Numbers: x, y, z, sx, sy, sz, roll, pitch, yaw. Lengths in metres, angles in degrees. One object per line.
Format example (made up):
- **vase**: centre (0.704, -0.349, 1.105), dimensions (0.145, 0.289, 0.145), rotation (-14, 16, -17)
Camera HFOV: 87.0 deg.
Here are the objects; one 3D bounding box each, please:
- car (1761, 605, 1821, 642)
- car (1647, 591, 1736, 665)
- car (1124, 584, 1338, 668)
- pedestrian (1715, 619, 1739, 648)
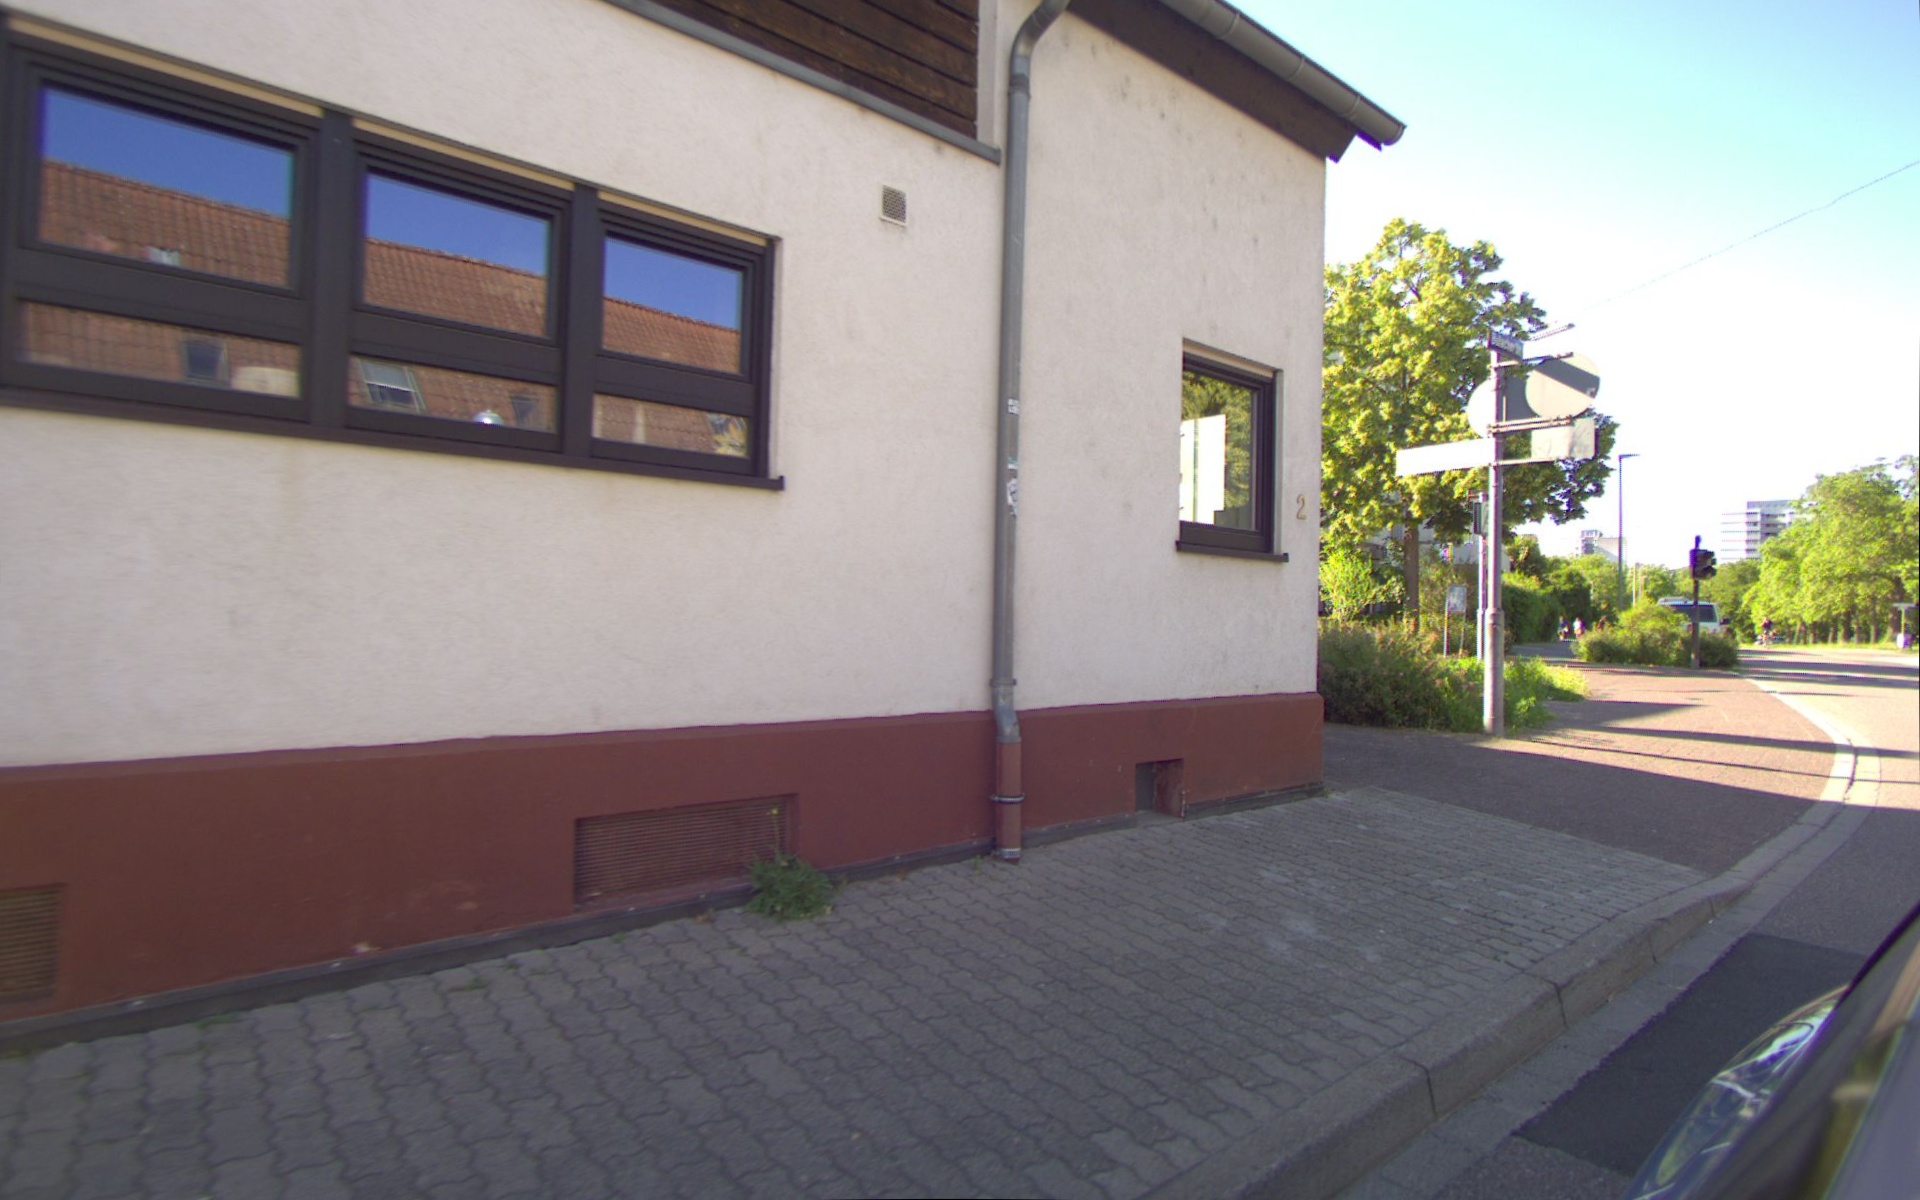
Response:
- **car**: centre (47.237, 1.286, 57.591), dimensions (1.951, 1.943, 4.526), rotation (2, 0, 31)
- **car**: centre (23.184, 0.841, 32.008), dimensions (1.991, 2.105, 4.512), rotation (2, 0, 39)
- **car**: centre (5.589, 0.565, 20.530), dimensions (4.721, 1.440, 1.996), rotation (5, -2, -44)
- **pedestrian**: centre (44.554, 1.949, 58.789), dimensions (0.620, 1.605, 0.837), rotation (1, 4, -37)
